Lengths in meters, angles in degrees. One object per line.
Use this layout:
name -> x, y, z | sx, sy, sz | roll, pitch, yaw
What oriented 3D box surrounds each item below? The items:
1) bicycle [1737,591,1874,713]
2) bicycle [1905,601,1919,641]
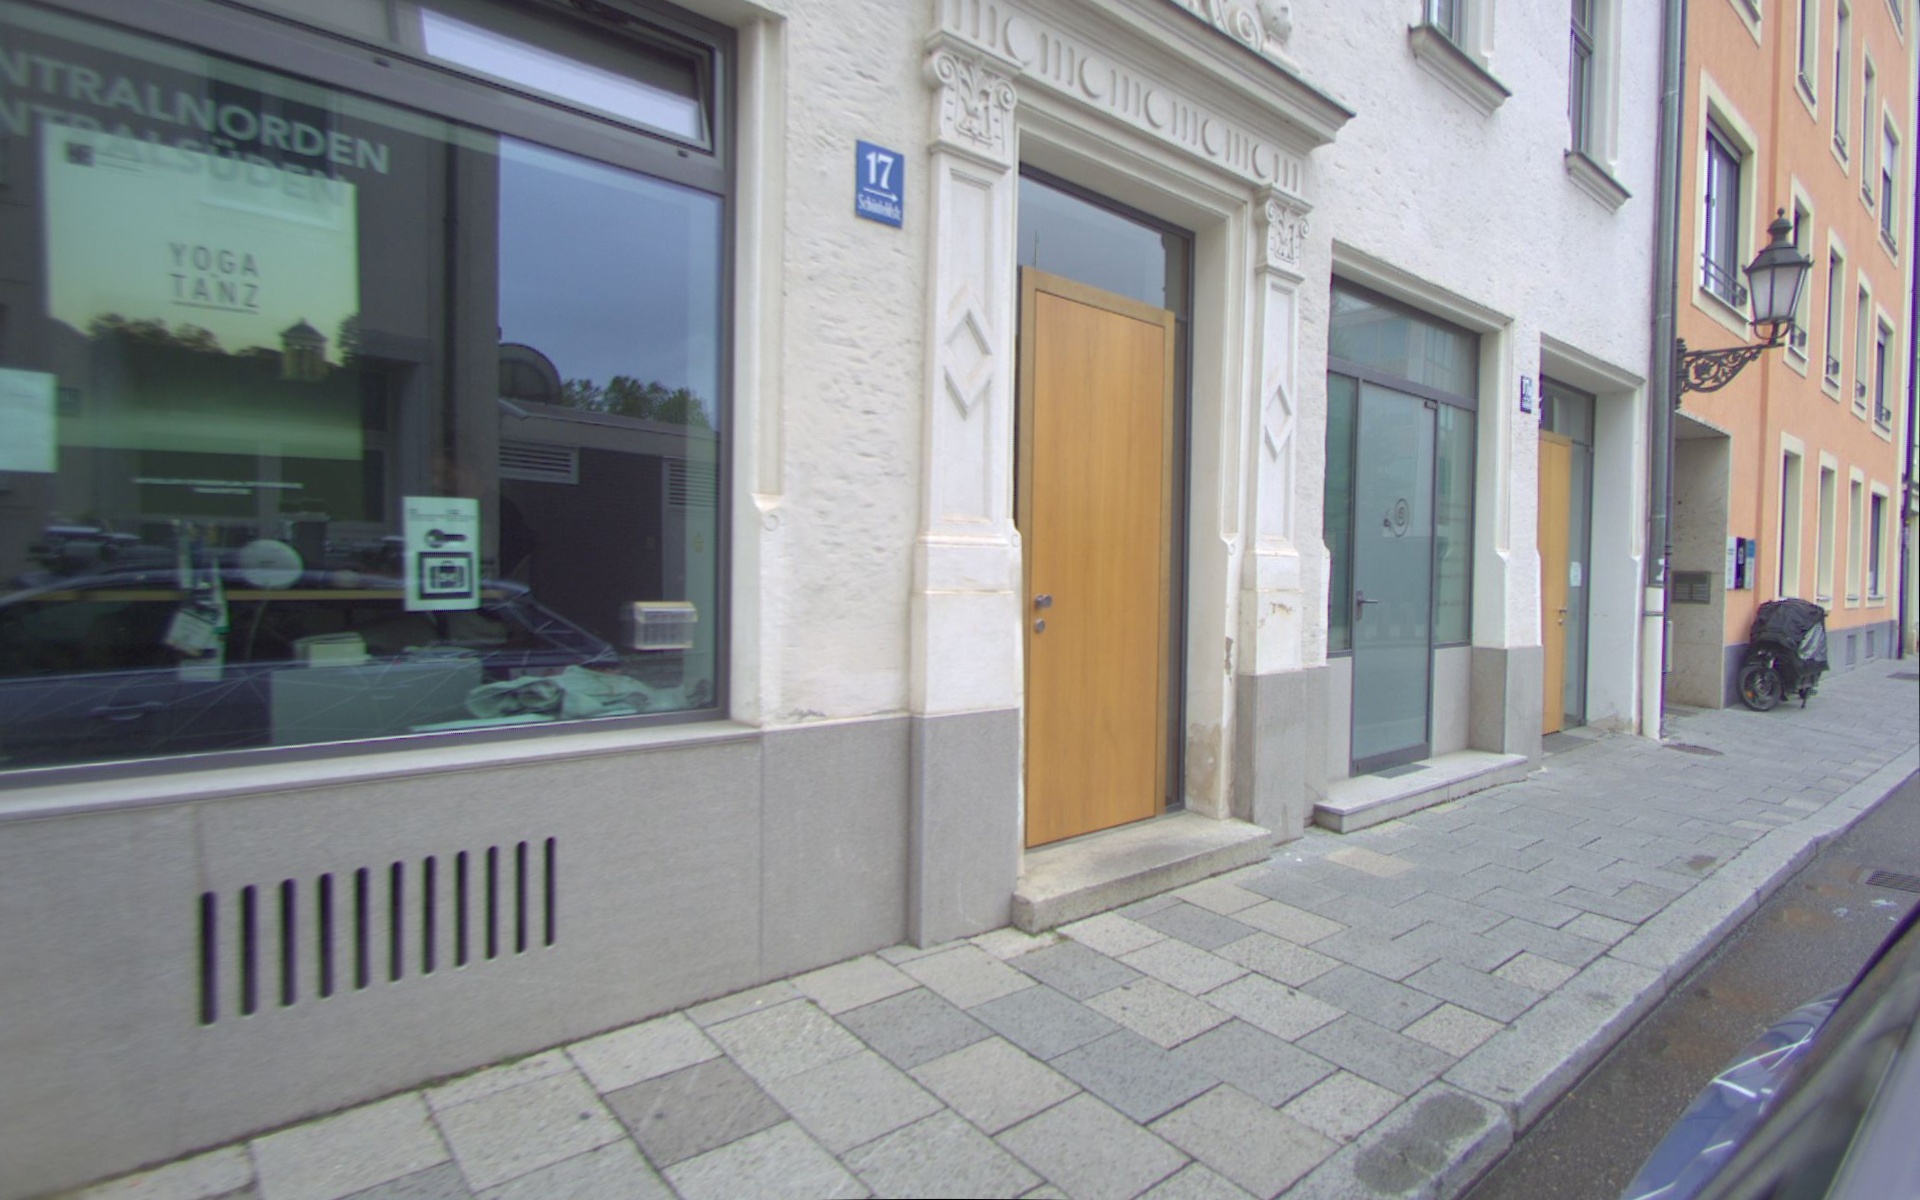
bicycle -> 9.954, 0.565, 11.879 | 2.339, 1.254, 0.682 | 1, 6, -39
bicycle -> 25.433, 0.574, 26.443 | 2.037, 1.006, 0.466 | 2, 1, -31
